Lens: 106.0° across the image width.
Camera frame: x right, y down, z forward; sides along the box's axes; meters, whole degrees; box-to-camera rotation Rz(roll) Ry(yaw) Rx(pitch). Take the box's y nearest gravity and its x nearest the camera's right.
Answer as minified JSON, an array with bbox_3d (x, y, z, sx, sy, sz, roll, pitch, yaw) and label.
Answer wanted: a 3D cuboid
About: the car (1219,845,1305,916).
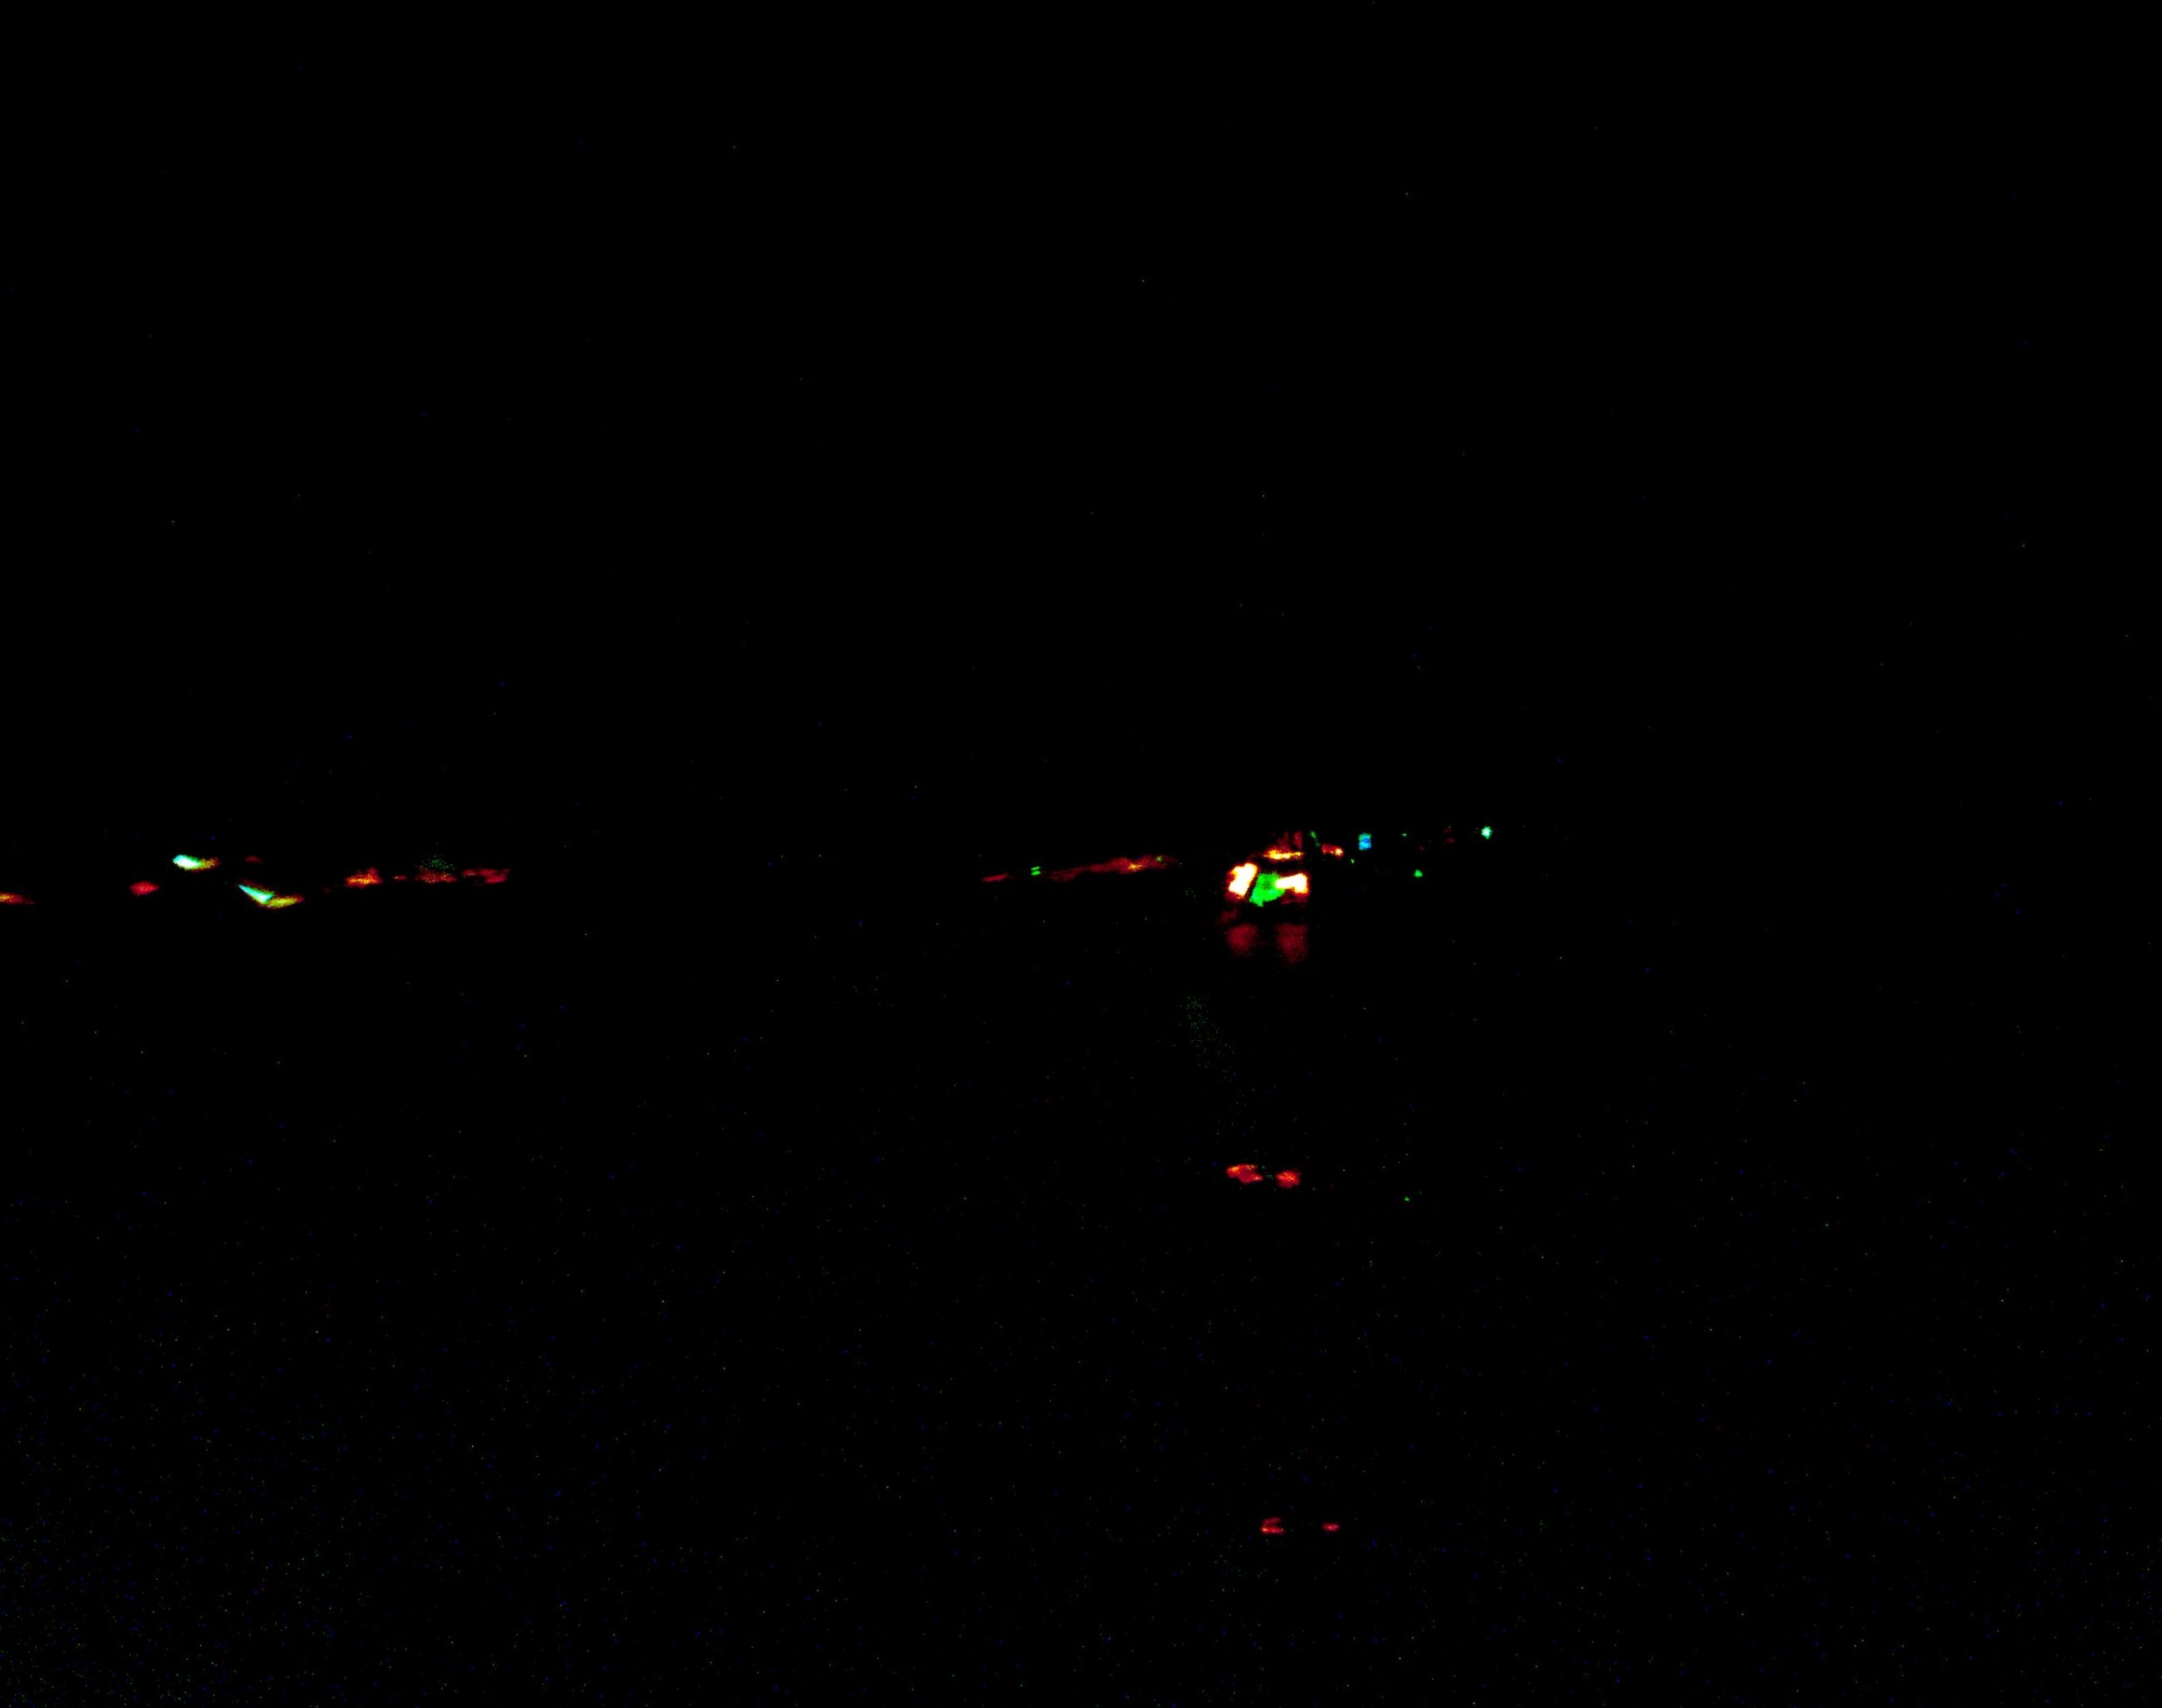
[{"bbox_3d":[4.559,0.612,21.031,1.850,1.647,4.078,0,0,8],"label":"car"}]

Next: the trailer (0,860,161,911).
[{"bbox_3d":[-52.345,1.518,42.679,2.004,2.282,9.573,2,-1,-27],"label":"trailer"}]

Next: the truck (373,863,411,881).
[{"bbox_3d":[-92.556,2.320,109.554,2.005,2.266,9.229,0,0,-28],"label":"truck"}]

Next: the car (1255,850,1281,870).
[{"bbox_3d":[17.295,0.554,75.187,1.880,1.720,4.065,-1,0,19],"label":"car"}]

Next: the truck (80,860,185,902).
[{"bbox_3d":[-54.628,1.496,47.054,2.004,2.214,5.490,0,0,-27],"label":"truck"}]

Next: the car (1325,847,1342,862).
[{"bbox_3d":[33.663,0.076,108.575,1.879,1.998,4.066,-1,0,20],"label":"car"}]

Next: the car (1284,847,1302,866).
[{"bbox_3d":[23.587,0.311,90.551,1.881,2.040,4.063,-1,0,16],"label":"car"}]

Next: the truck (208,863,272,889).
[{"bbox_3d":[-73.067,1.879,70.909,2.006,2.014,7.183,2,-1,-31],"label":"truck"}]
